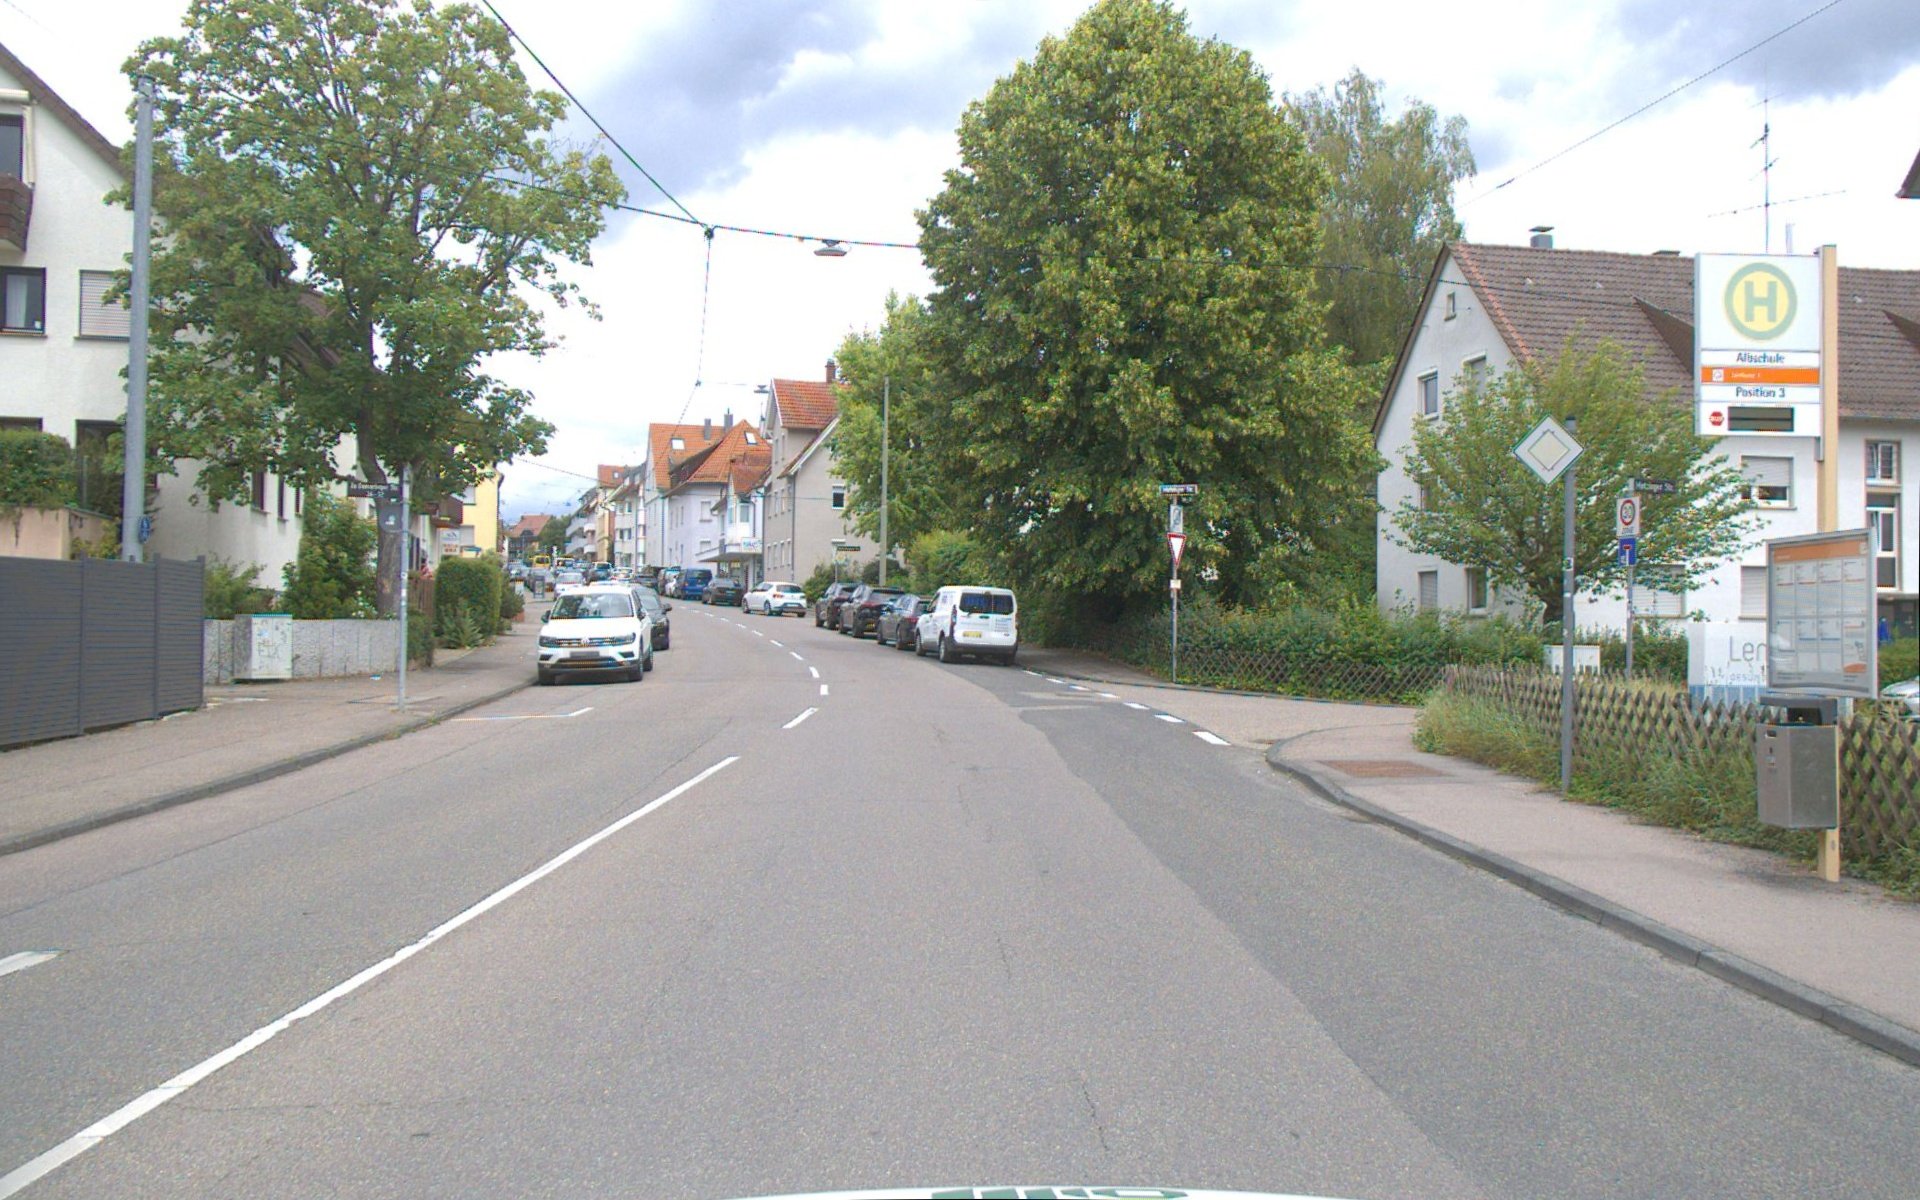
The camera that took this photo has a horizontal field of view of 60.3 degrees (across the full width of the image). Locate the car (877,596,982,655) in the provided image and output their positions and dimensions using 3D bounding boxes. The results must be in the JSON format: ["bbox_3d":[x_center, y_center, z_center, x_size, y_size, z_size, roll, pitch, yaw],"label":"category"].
[{"bbox_3d":[-0.900,0.662,45.478,1.959,1.504,4.604,1,0,-13],"label":"car"}]

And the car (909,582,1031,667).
[{"bbox_3d":[0.173,0.544,39.957,1.807,1.805,4.301,3,0,-15],"label":"car"}]

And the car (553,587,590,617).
[{"bbox_3d":[-22.175,0.107,94.594,1.801,1.605,4.021,-2,1,-11],"label":"car"}]

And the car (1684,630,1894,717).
[{"bbox_3d":[16.658,1.498,33.284,3.638,1.591,1.679,3,-4,-17],"label":"car"}]

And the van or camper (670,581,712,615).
[{"bbox_3d":[-16.955,-0.148,104.114,1.897,1.959,4.806,2,0,-18],"label":"van or camper"}]

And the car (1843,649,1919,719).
[{"bbox_3d":[20.637,1.790,34.435,3.660,1.393,1.839,2,-3,-11],"label":"car"}]

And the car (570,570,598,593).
[{"bbox_3d":[-35.441,-1.772,155.834,2.119,2.049,3.979,2,0,-19],"label":"car"}]

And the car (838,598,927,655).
[{"bbox_3d":[-2.483,0.792,52.010,1.959,1.643,4.524,3,0,-13],"label":"car"}]

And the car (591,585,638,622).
[{"bbox_3d":[-14.846,0.133,71.053,1.698,1.483,3.883,-3,1,-15],"label":"car"}]

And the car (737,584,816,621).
[{"bbox_3d":[-7.956,0.110,71.522,1.920,1.464,3.959,2,1,-30],"label":"car"}]

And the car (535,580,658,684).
[{"bbox_3d":[-6.650,0.537,30.679,1.815,1.744,4.567,-1,0,-8],"label":"car"}]

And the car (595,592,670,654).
[{"bbox_3d":[-8.486,0.553,42.636,1.732,1.463,4.064,-1,1,-14],"label":"car"}]

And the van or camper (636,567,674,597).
[{"bbox_3d":[-22.652,-1.341,122.833,1.962,2.101,5.916,3,0,-17],"label":"van or camper"}]

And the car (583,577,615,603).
[{"bbox_3d":[-29.707,-0.839,135.931,2.119,2.049,3.979,2,0,-19],"label":"car"}]

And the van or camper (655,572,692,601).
[{"bbox_3d":[-19.999,-0.943,115.420,1.842,1.860,4.656,3,0,-18],"label":"van or camper"}]

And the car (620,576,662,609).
[{"bbox_3d":[-20.543,-0.498,106.427,2.119,2.049,3.979,2,0,-19],"label":"car"}]

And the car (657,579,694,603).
[{"bbox_3d":[-18.860,-0.629,109.489,1.688,1.461,4.616,3,0,-18],"label":"car"}]

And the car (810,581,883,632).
[{"bbox_3d":[-4.002,0.202,57.688,1.780,1.643,4.524,3,0,-13],"label":"car"}]

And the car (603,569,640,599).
[{"bbox_3d":[-24.667,-1.177,120.325,2.119,2.049,3.979,2,0,-19],"label":"car"}]
